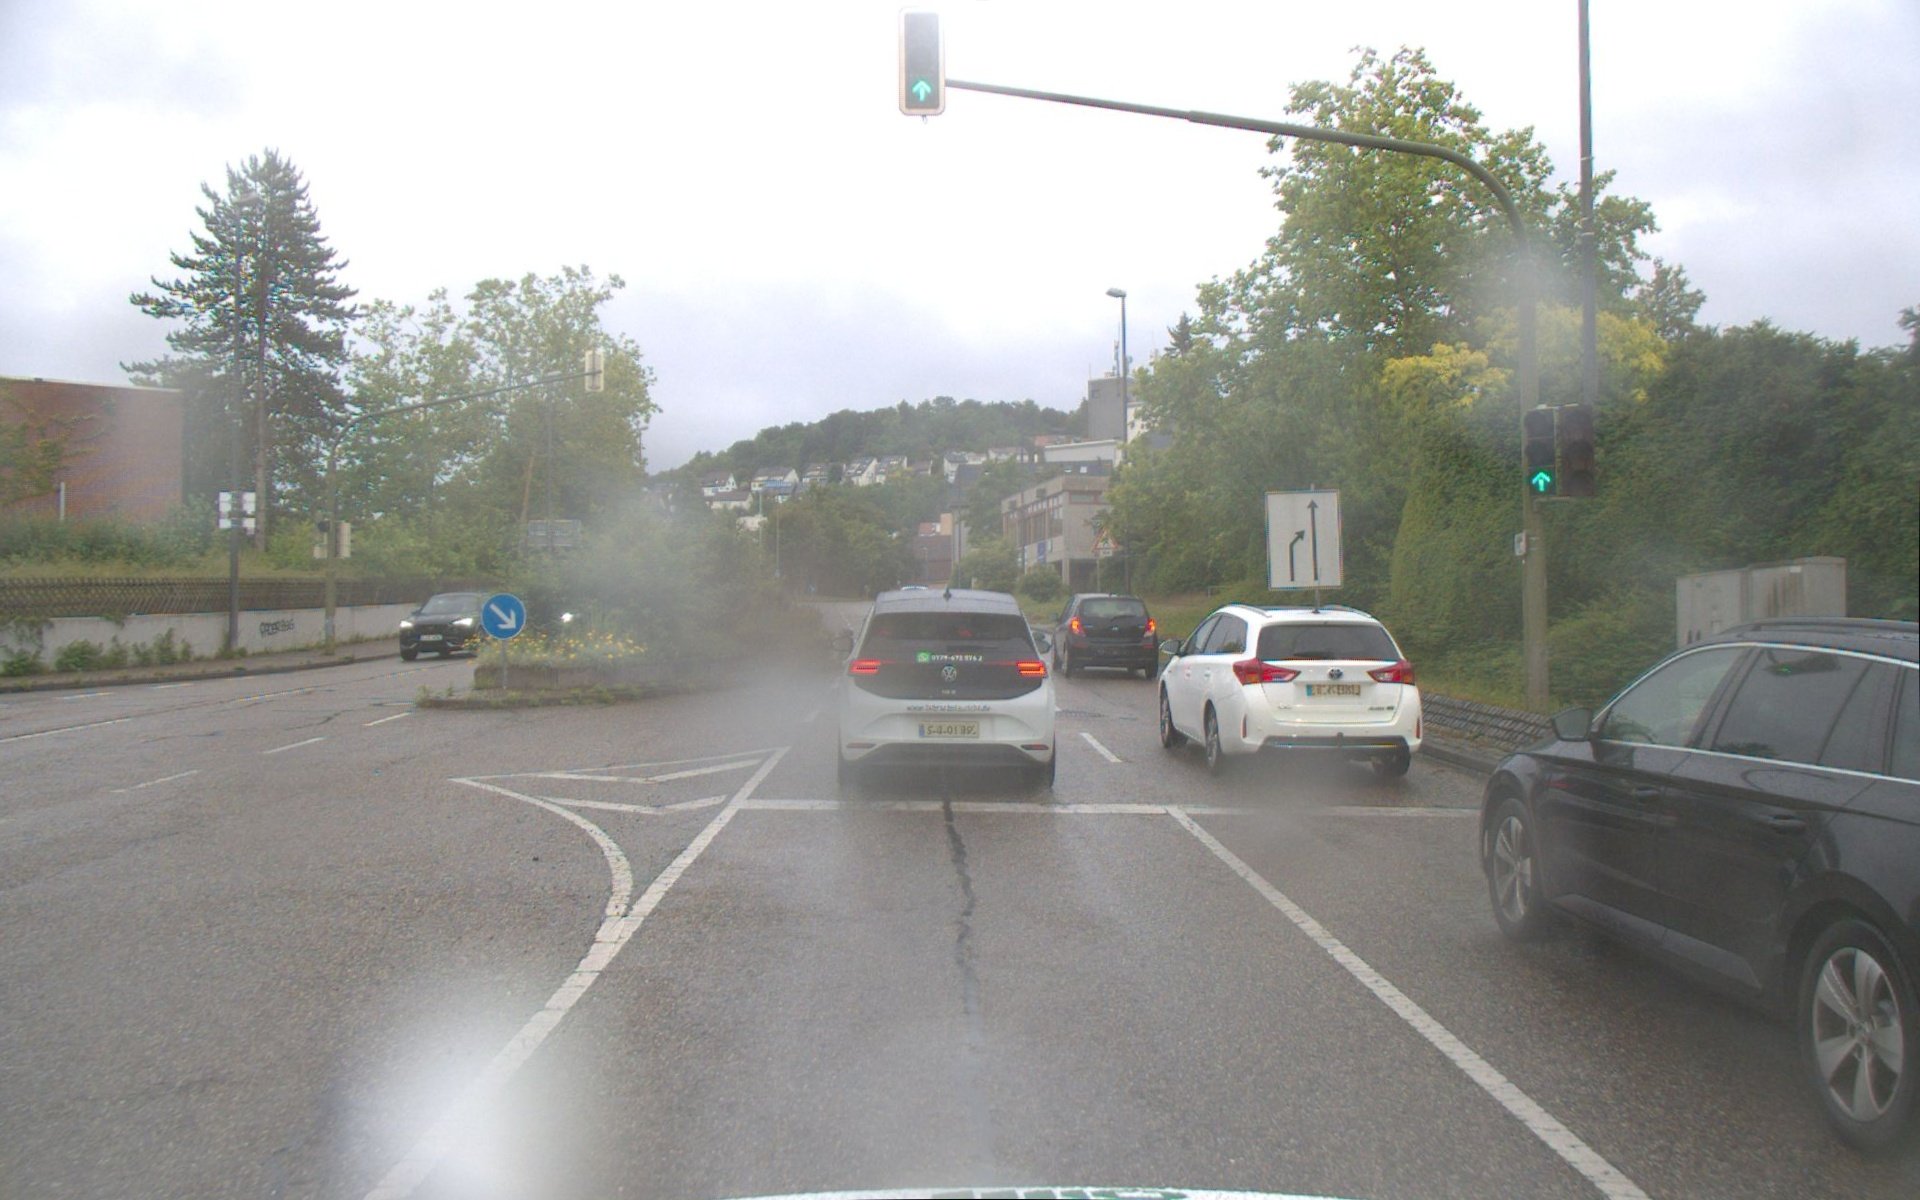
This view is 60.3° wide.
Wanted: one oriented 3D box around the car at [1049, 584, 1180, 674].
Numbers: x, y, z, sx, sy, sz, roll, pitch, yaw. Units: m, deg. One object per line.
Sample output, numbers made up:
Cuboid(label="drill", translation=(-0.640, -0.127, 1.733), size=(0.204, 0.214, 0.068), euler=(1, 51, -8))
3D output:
Cuboid(label="car", translation=(2.785, 0.520, 30.556), size=(1.953, 1.478, 3.770), euler=(-2, 0, -1))

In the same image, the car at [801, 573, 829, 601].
Cuboid(label="car", translation=(-11.075, -0.986, 126.256), size=(1.954, 2.049, 3.997), euler=(1, -1, -3))

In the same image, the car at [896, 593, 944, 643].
Cuboid(label="car", translation=(-1.691, 0.781, 70.818), size=(1.953, 2.049, 3.999), euler=(1, -1, -1))

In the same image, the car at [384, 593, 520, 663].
Cuboid(label="car", translation=(-11.996, 0.645, 39.323), size=(1.910, 1.504, 4.295), euler=(-2, 0, -1))

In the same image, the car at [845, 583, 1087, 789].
Cuboid(label="car", translation=(0.016, 0.656, 14.398), size=(1.791, 1.526, 4.167), euler=(0, 0, -1))

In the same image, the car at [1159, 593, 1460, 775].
Cuboid(label="car", translation=(3.033, 0.682, 15.261), size=(1.810, 1.434, 4.300), euler=(0, 0, -1))

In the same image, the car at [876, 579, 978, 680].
Cuboid(label="car", translation=(-0.605, 0.431, 27.507), size=(1.536, 1.556, 3.997), euler=(0, 1, -3))

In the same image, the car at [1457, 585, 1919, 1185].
Cuboid(label="car", translation=(3.421, 0.777, 5.777), size=(1.914, 1.534, 4.608), euler=(2, -1, 0))
